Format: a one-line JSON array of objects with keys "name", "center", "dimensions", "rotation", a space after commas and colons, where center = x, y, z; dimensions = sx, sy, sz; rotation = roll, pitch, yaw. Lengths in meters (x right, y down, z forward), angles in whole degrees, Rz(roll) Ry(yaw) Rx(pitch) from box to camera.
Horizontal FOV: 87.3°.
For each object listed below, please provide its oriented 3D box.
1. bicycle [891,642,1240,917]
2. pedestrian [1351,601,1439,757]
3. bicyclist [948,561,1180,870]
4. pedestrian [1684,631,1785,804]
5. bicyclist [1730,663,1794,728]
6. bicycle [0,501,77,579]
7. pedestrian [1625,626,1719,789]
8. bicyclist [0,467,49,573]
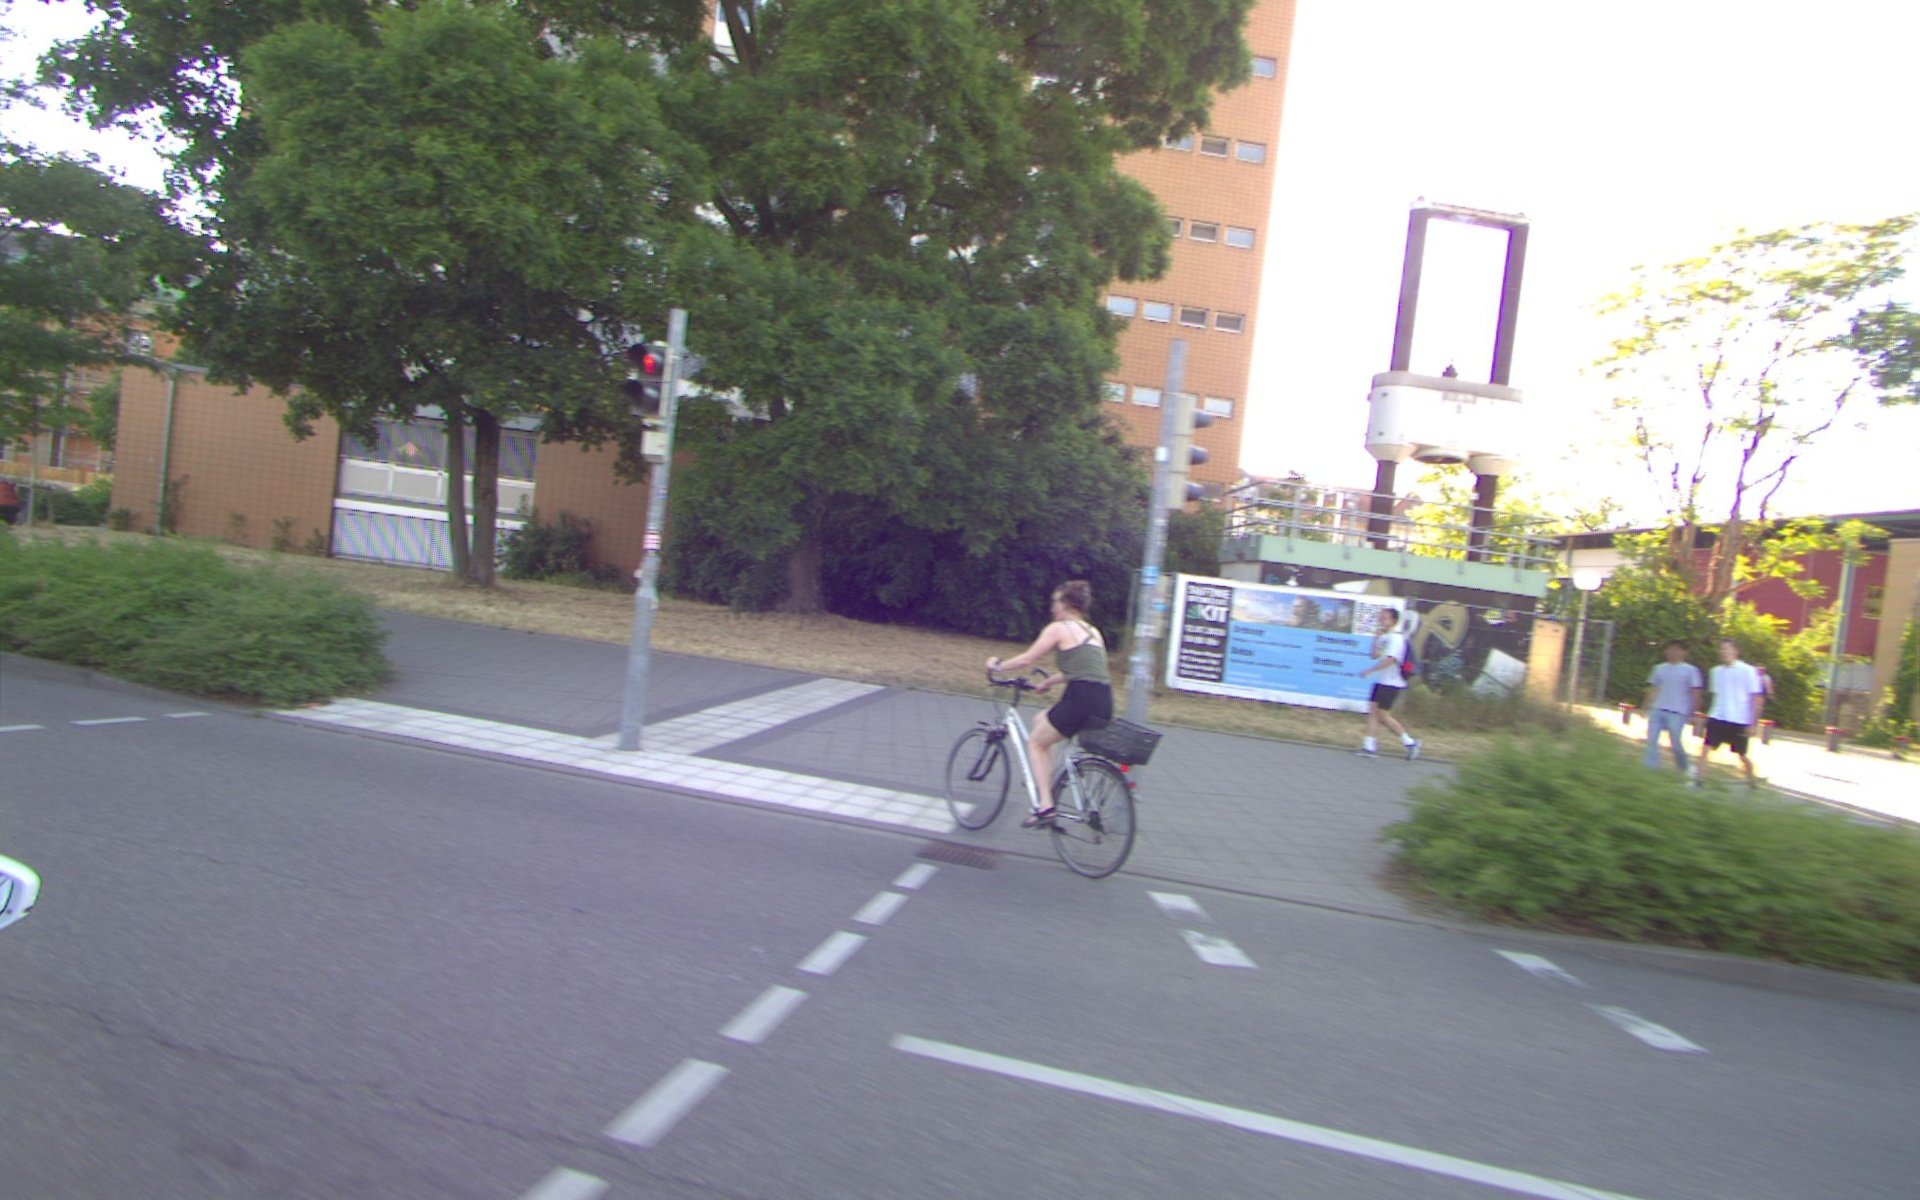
[{"name": "bicycle", "center": [0.557, 1.008, 6.436], "dimensions": [0.773, 1.172, 2.266], "rotation": [3, 4, -38]}, {"name": "pedestrian", "center": [5.107, 0.910, 11.840], "dimensions": [0.618, 1.721, 0.622], "rotation": [7, 2, 9]}, {"name": "bicyclist", "center": [0.630, 0.666, 6.357], "dimensions": [0.773, 1.700, 1.081], "rotation": [3, 5, -38]}, {"name": "pedestrian", "center": [8.962, 1.347, 11.649], "dimensions": [0.572, 1.893, 0.616], "rotation": [5, 2, -39]}, {"name": "bicyclist", "center": [20.018, 2.379, 25.135], "dimensions": [0.612, 1.452, 0.916], "rotation": [8, 1, -4]}, {"name": "bicycle", "center": [-13.554, -0.897, 14.021], "dimensions": [2.206, 0.964, 0.722], "rotation": [6, 0, 15]}, {"name": "pedestrian", "center": [8.735, 1.311, 12.354], "dimensions": [0.572, 1.893, 0.616], "rotation": [5, 2, -39]}, {"name": "bicyclist", "center": [-13.565, -1.144, 14.030], "dimensions": [1.055, 1.401, 0.722], "rotation": [6, 0, 15]}]
